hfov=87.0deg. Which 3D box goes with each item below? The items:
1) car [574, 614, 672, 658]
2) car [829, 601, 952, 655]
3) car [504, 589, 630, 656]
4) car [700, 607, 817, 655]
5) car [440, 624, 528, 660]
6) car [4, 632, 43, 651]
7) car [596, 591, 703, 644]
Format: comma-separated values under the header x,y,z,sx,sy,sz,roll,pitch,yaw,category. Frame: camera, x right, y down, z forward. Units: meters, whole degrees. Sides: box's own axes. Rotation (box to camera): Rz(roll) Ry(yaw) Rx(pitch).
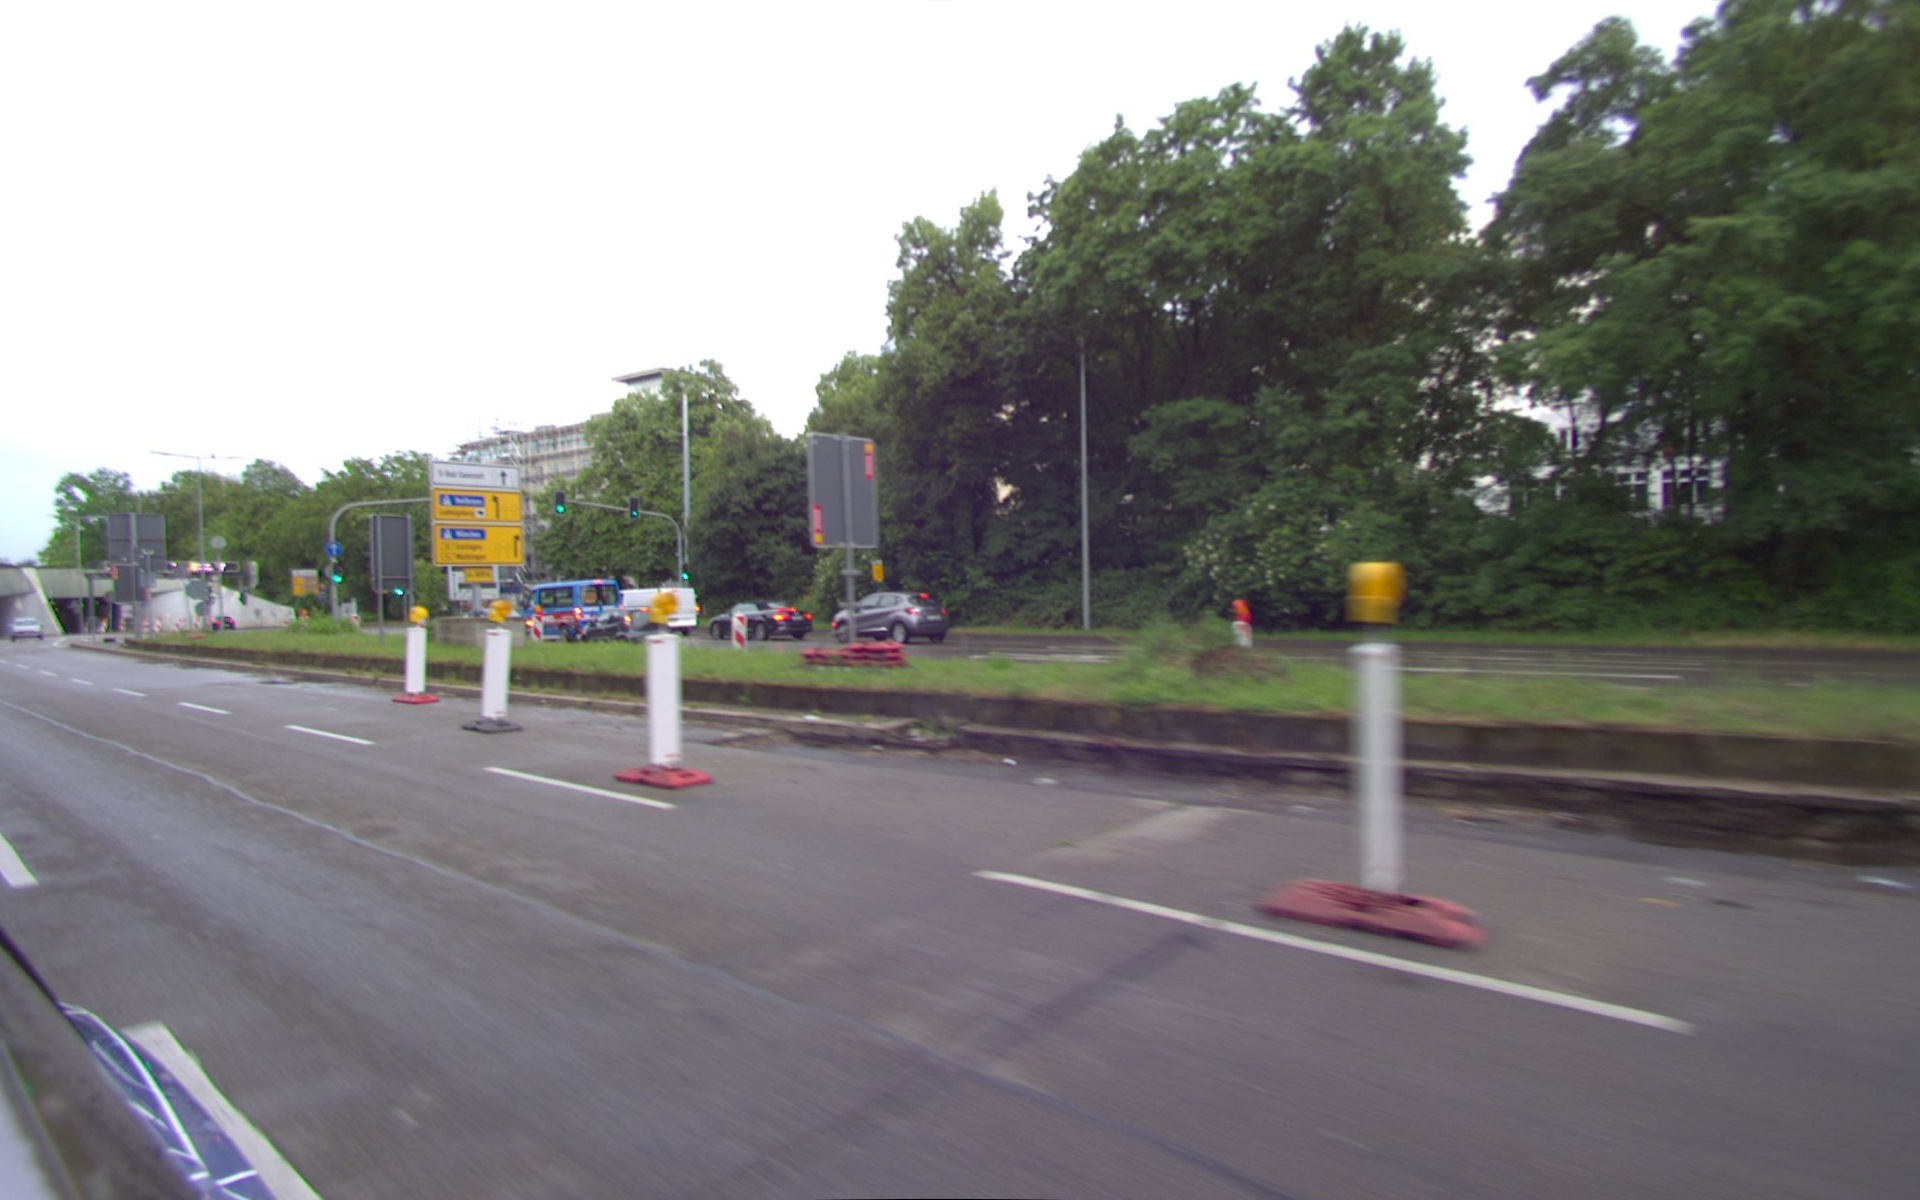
x,y,z,sx,sy,sz,roll,pitch,yaw,category
-10.225,1.073,30.604,3.301,1.209,1.413,-2,0,44,car
-2.178,0.848,31.167,3.791,1.535,1.653,-2,0,44,car
-15.712,0.927,40.253,6.244,2.408,2.171,-3,-1,44,car
-7.236,1.081,36.082,4.636,1.535,1.773,-2,0,44,car
-18.008,1.553,38.160,1.531,1.209,4.649,-2,0,-44,car
-67.195,2.974,72.570,3.823,1.317,1.676,-2,-1,41,car
-12.980,0.774,42.165,4.991,1.989,2.012,-3,-1,44,car
